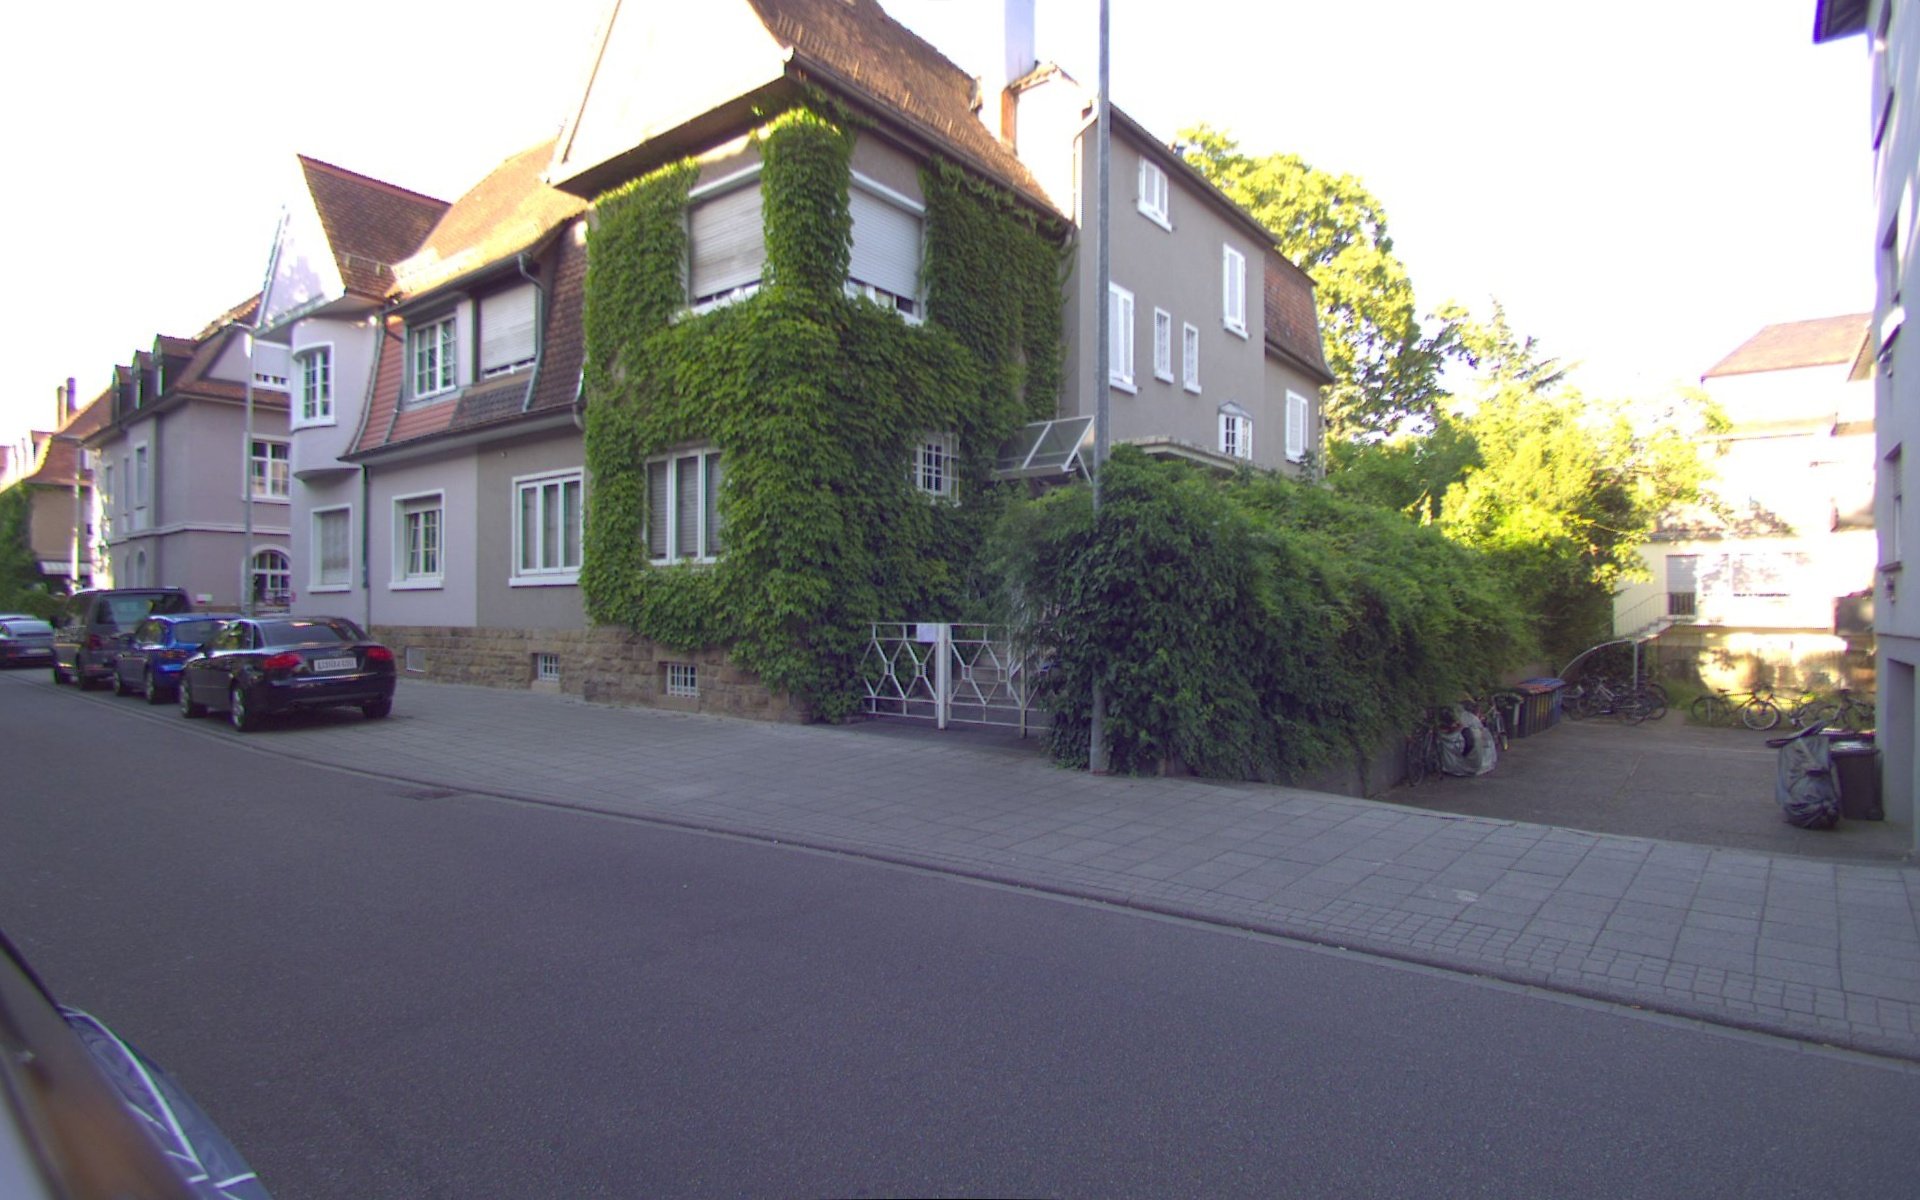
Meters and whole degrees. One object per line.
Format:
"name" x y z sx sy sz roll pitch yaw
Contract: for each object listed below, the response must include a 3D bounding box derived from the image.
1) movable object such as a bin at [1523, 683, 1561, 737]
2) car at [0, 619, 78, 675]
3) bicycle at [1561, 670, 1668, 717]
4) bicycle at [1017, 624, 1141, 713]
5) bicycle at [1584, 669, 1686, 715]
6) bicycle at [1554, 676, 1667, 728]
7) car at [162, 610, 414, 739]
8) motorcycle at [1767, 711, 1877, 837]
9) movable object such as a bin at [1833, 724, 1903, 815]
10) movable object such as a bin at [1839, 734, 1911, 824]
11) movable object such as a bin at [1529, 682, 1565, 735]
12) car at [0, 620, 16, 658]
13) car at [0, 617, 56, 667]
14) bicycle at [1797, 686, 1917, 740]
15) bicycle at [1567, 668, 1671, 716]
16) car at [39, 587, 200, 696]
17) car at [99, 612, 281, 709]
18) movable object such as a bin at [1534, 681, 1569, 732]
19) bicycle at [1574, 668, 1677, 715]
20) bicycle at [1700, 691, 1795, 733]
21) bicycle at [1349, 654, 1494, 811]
"movable object such as a bin" 12.700 2.381 22.075 0.611 1.123 0.792 -1 -4 37
"car" -26.161 1.270 28.299 4.063 1.394 1.906 -1 1 44
"bicycle" 17.505 2.479 27.116 2.338 1.142 0.685 -1 -4 42
"bicycle" 1.699 0.918 14.187 0.476 1.111 2.172 -1 -1 45
"bicycle" 19.198 2.602 28.831 2.338 1.186 0.685 -1 -4 42
"bicycle" 16.238 2.524 25.304 2.294 1.142 0.685 -1 -4 42
"car" -9.417 0.913 14.036 4.426 1.457 1.783 -1 1 41
"motorcycle" 10.705 2.116 12.626 0.742 1.305 1.565 -1 -2 30
"movable object such as a bin" 12.296 2.276 13.729 0.611 1.123 0.792 -1 -4 37
"movable object such as a bin" 11.714 2.271 12.968 0.611 1.045 0.532 -1 -4 37
"movable object such as a bin" 13.176 2.416 22.718 0.611 1.123 0.792 -1 -4 37
"car" -36.326 1.446 37.510 3.676 1.372 1.641 -1 1 42
"car" -30.175 1.301 32.032 4.061 1.478 1.907 -1 1 42
"bicycle" 20.368 2.541 23.027 2.005 1.080 0.558 -1 -4 42
"bicycle" 18.056 2.501 27.769 2.338 1.186 0.685 -1 -4 42
"car" -17.527 0.790 21.017 4.610 1.990 1.819 -1 1 41
"car" -13.639 0.984 17.847 4.060 1.457 1.745 -1 1 41
"movable object such as a bin" 13.647 2.449 23.349 0.611 1.123 0.792 -1 -4 37
"bicycle" 18.615 2.550 28.337 2.338 1.186 0.685 -1 -4 42
"bicycle" 18.891 2.667 24.302 1.754 0.886 0.558 -1 -4 42
"bicycle" 6.822 1.784 14.754 0.971 1.907 4.138 -1 -3 38
